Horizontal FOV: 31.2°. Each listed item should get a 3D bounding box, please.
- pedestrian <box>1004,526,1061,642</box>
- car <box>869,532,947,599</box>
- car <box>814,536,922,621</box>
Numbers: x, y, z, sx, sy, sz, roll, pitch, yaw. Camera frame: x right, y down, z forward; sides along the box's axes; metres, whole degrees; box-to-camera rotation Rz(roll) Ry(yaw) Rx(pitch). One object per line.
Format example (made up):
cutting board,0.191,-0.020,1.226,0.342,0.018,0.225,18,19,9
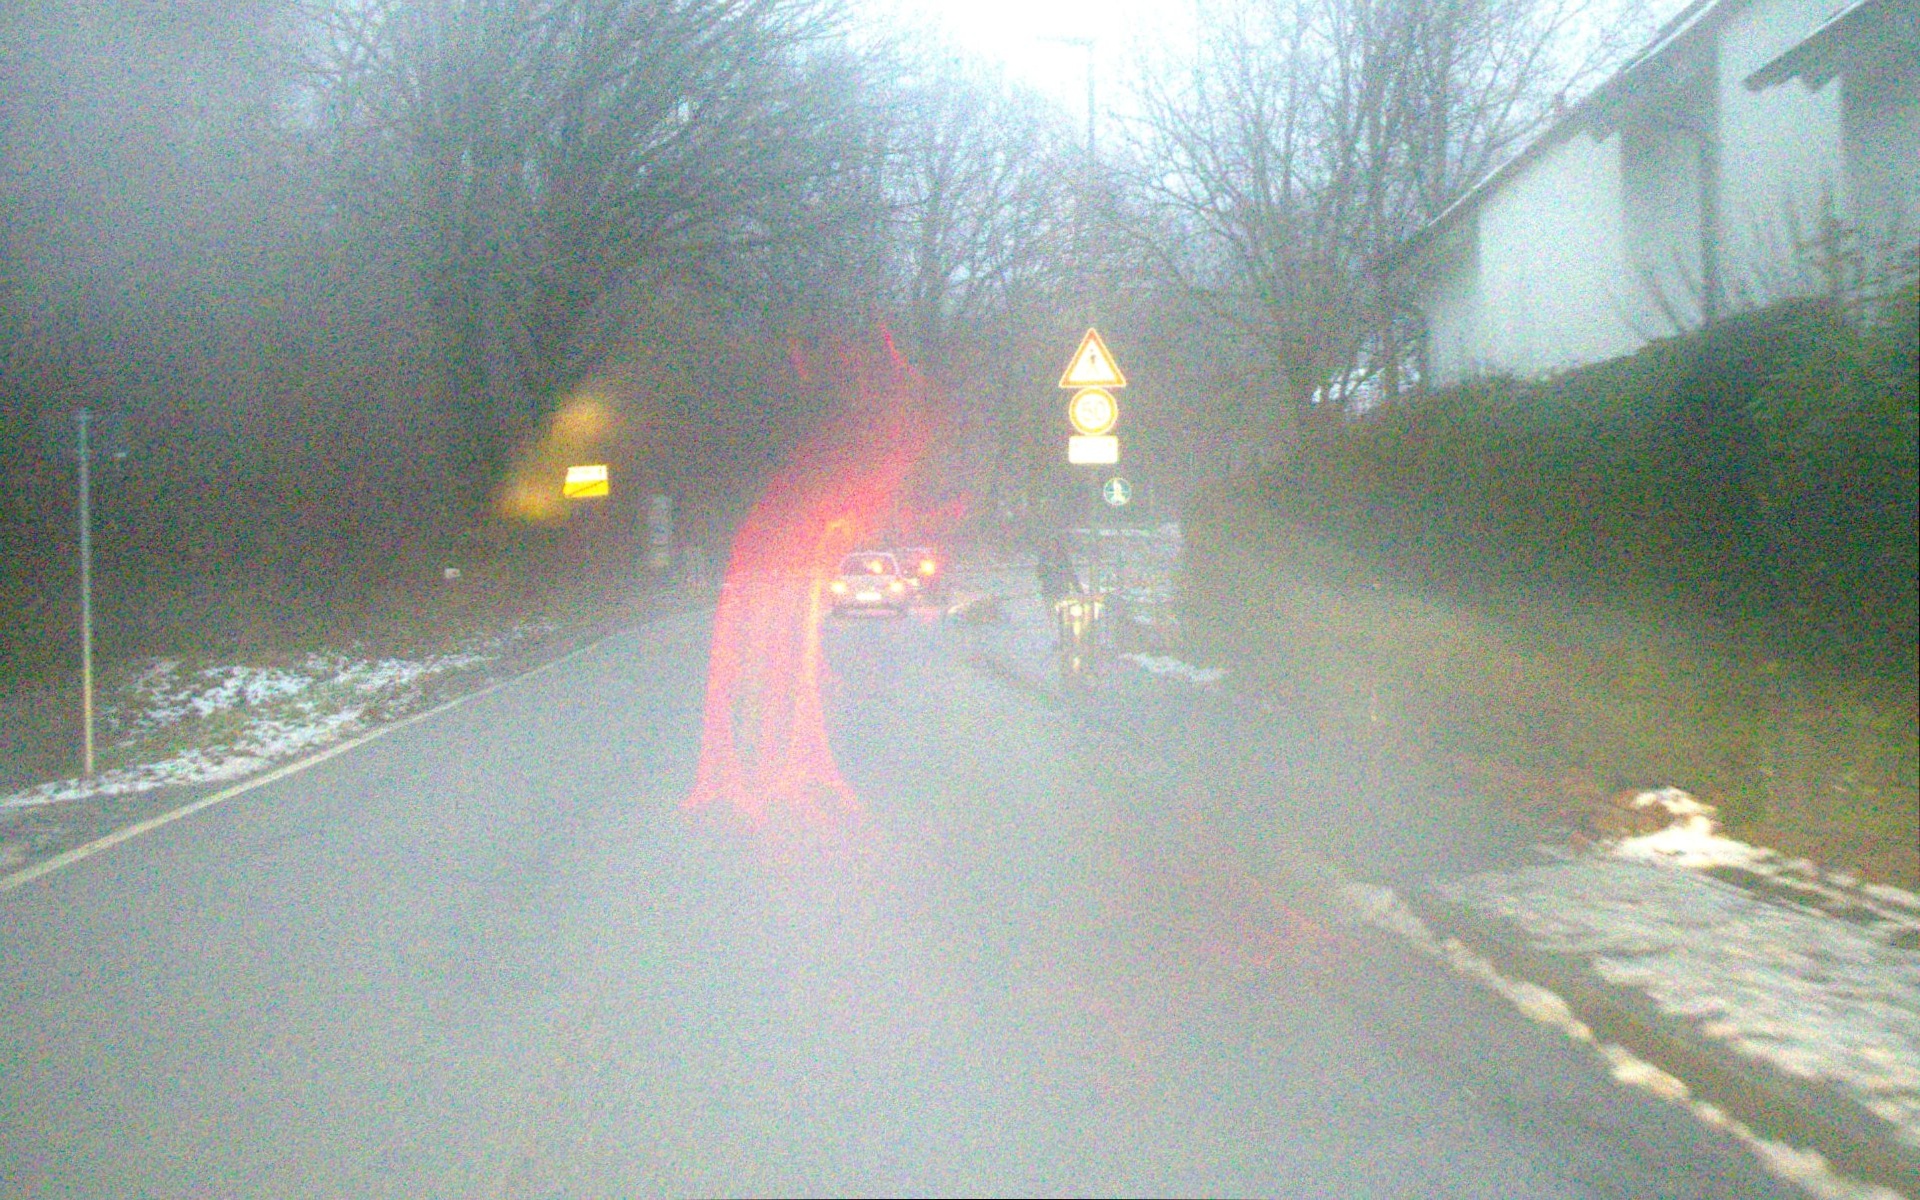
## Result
pedestrian,1.040,-0.246,49.687,0.743,1.649,0.970,-1,1,-3
car,-1.332,-0.910,88.844,1.933,1.670,4.000,-1,1,0
car,-1.987,-0.493,75.440,1.933,1.775,4.000,-1,1,5
